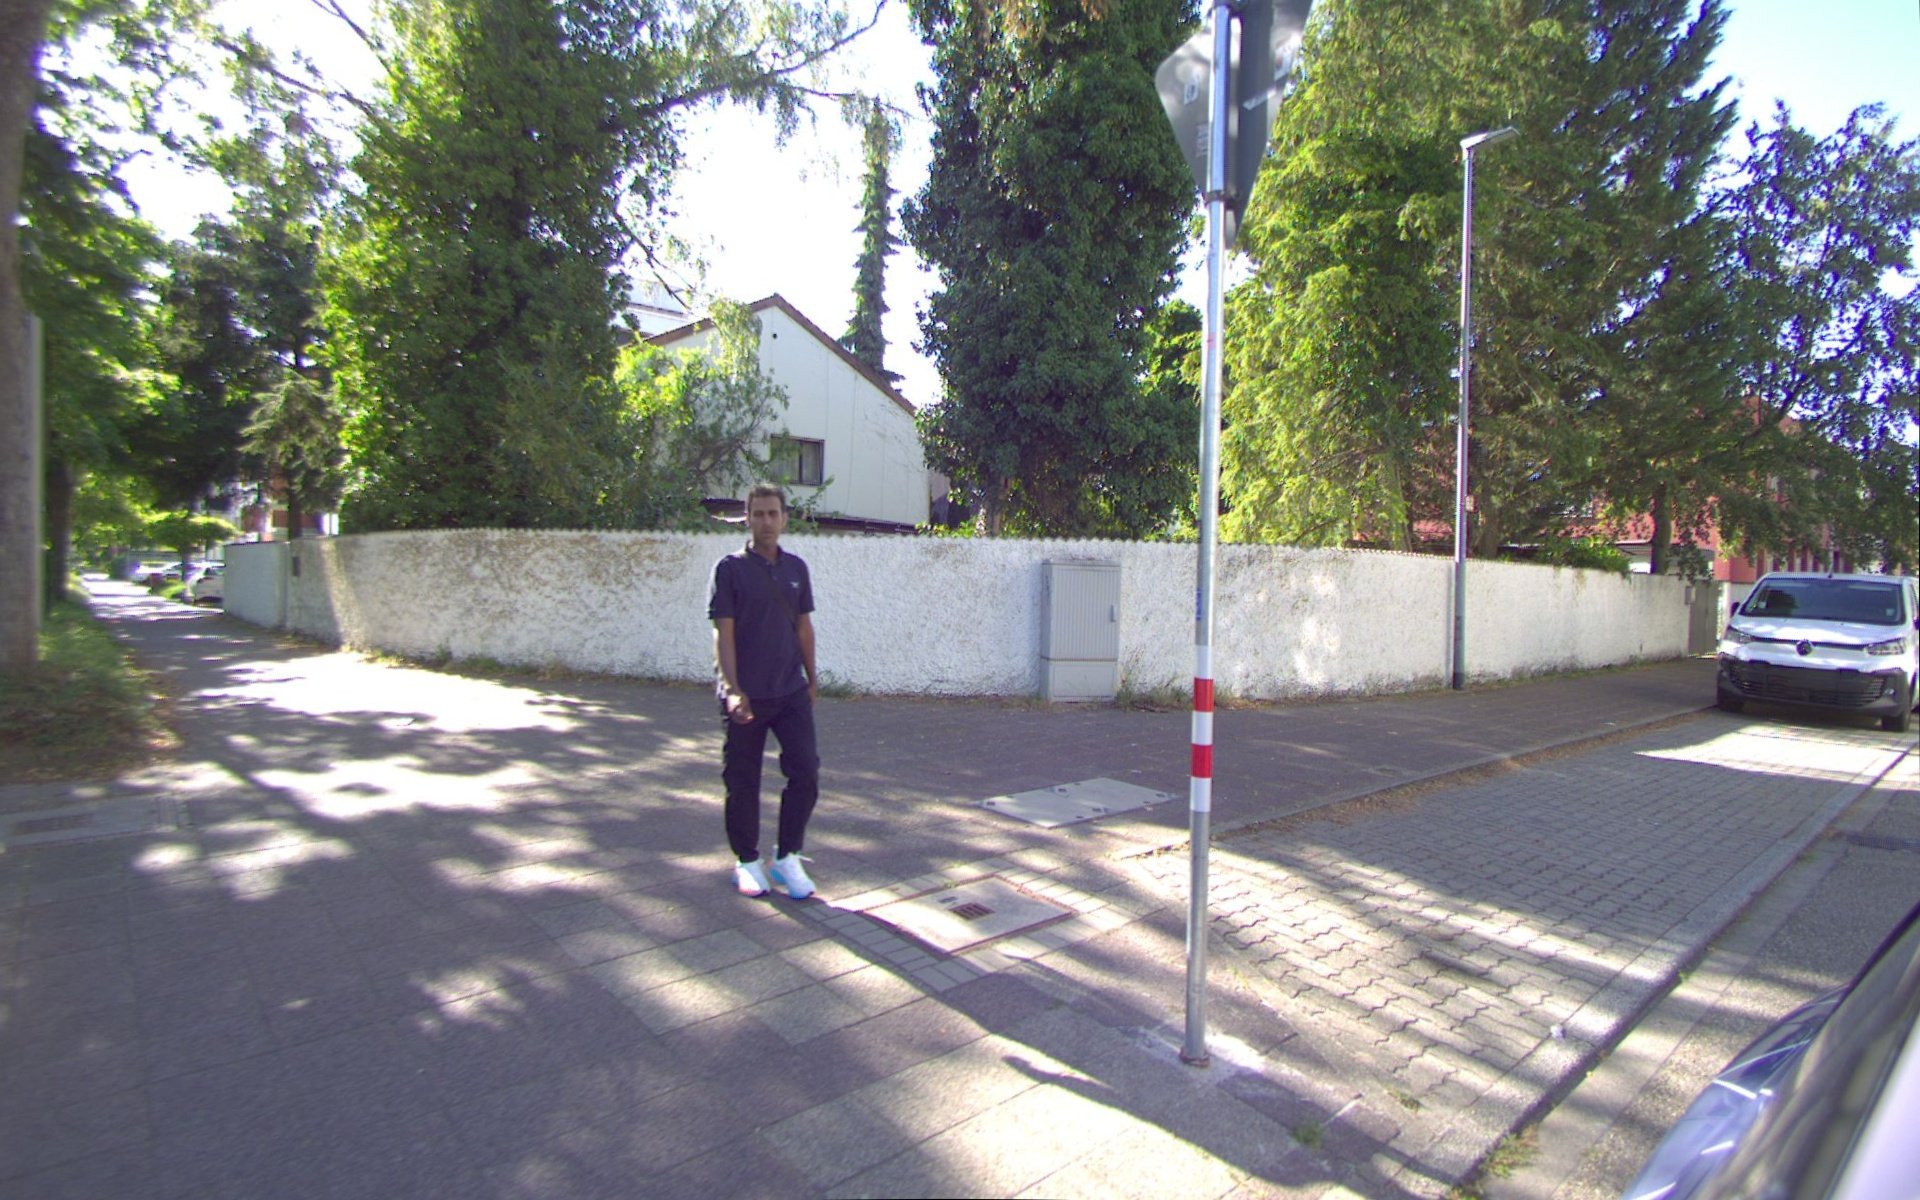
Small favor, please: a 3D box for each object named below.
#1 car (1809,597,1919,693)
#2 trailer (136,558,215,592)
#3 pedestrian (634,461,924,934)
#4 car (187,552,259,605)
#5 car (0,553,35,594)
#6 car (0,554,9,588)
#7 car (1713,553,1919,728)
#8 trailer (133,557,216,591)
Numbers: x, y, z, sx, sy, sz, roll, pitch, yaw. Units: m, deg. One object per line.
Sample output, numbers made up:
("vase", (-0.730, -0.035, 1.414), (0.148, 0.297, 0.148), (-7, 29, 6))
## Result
("car", (16.341, 0.718, 17.551), (4.208, 1.441, 1.829), (0, 2, -41))
("trailer", (-49.936, -1.574, 64.457), (3.929, 2.039, 1.997), (0, 0, -41))
("pedestrian", (-0.757, 0.335, 4.222), (0.825, 1.705, 0.805), (1, 2, -44))
("car", (-24.759, -0.743, 33.957), (1.802, 1.634, 4.142), (2, 1, -38))
("car", (-45.478, -1.225, 46.403), (4.488, 1.853, 1.996), (0, 1, -43))
("car", (-53.858, -1.566, 54.019), (4.488, 1.853, 1.996), (0, 1, -43))
("car", (12.050, 0.418, 13.715), (5.058, 1.937, 1.902), (0, 2, -41))
("trailer", (-48.080, -1.569, 61.988), (3.929, 2.039, 1.997), (0, 0, -41))
